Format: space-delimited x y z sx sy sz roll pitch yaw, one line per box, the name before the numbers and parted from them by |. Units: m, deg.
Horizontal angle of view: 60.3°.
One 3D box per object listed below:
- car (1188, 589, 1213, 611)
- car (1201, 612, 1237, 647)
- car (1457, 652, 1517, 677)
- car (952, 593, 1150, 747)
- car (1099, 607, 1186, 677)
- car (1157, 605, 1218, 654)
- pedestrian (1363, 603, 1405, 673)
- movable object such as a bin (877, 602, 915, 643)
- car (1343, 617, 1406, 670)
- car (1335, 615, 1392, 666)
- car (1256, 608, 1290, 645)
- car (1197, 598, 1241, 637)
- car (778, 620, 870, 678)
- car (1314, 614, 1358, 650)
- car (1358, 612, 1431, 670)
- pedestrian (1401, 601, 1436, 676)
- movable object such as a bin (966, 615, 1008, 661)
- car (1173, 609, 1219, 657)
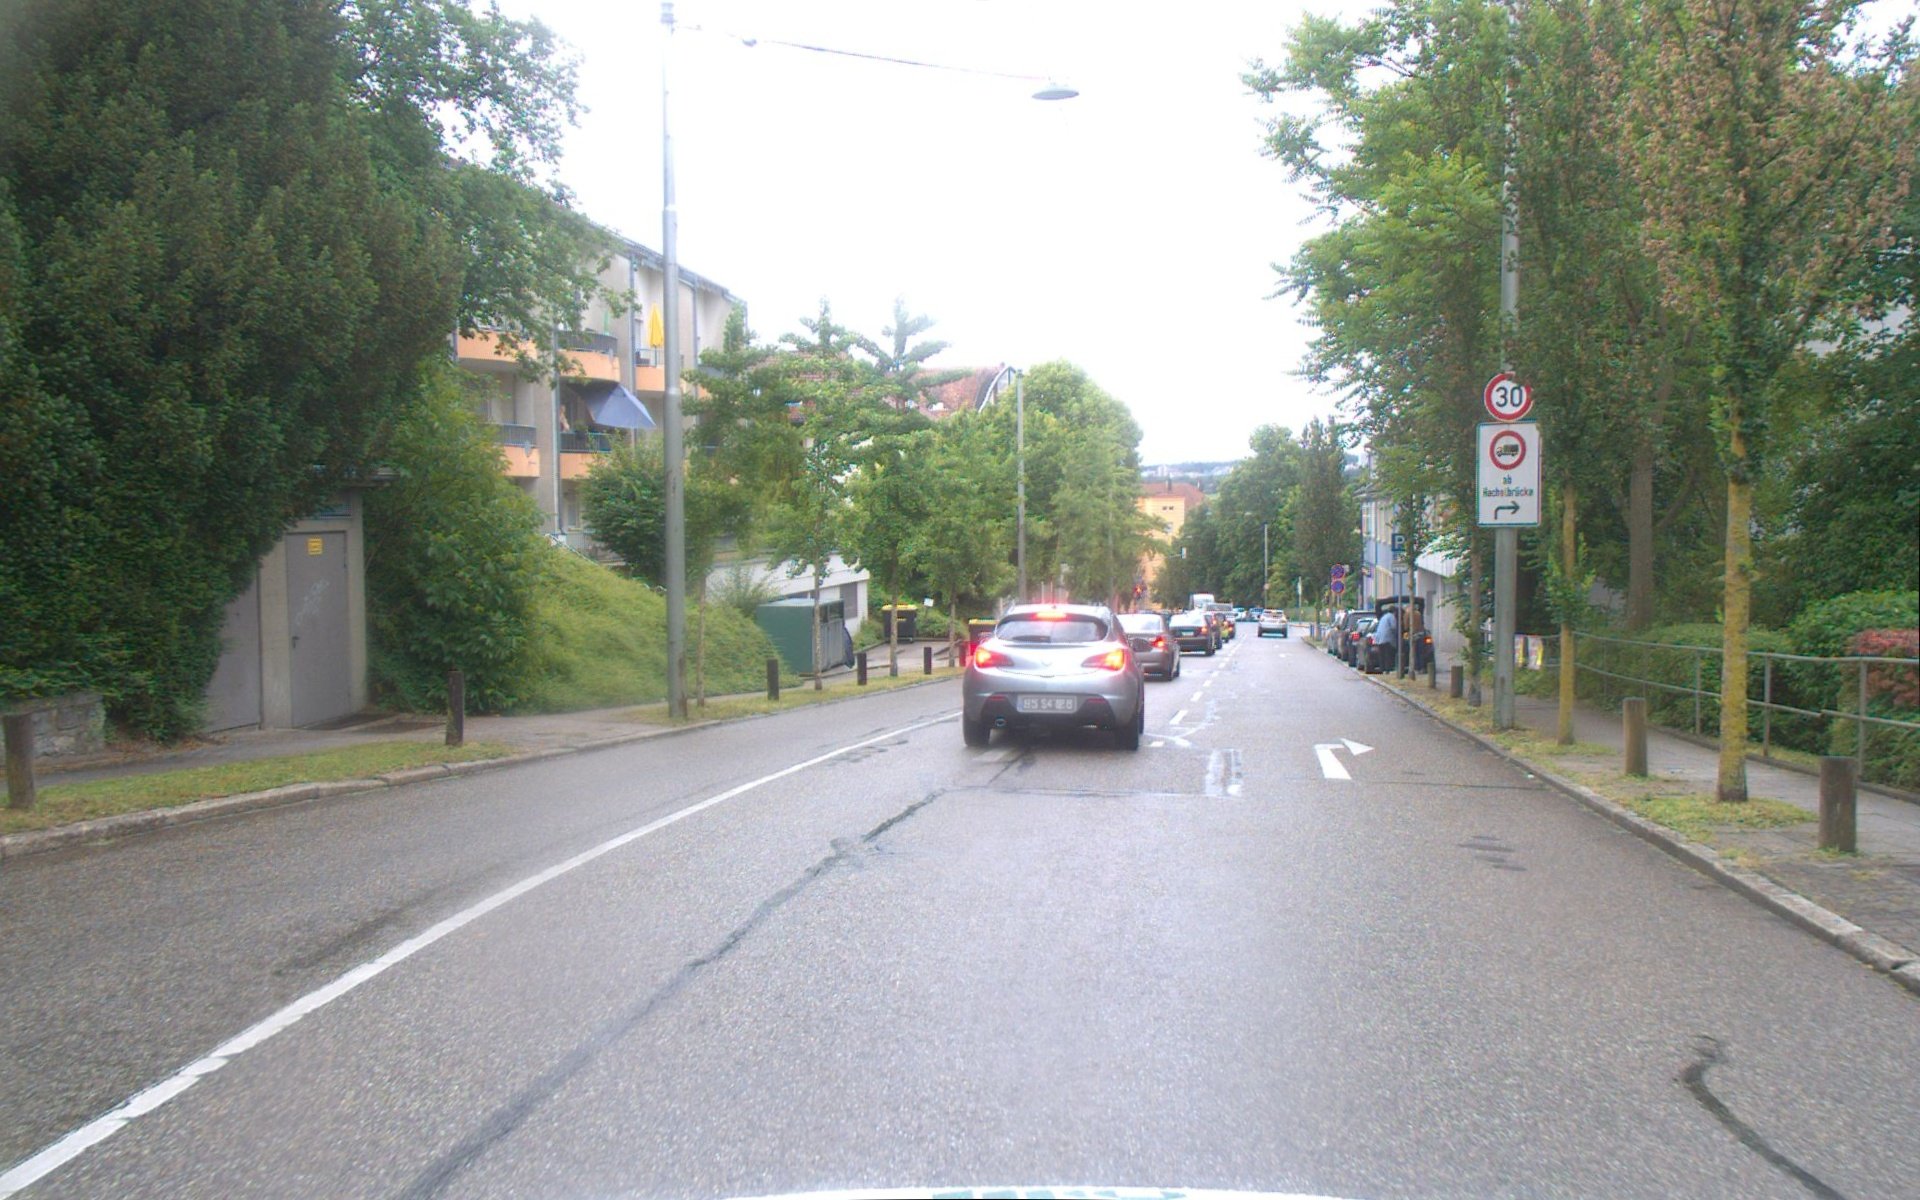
car | 21.732 0.039 149.315 1.951 1.815 4.003 4 0 11
car | 13.513 1.521 86.235 1.717 1.679 4.003 4 -1 9
car | 36.704 4.472 115.252 3.772 1.505 1.828 -3 -1 23
car | 1.092 0.711 18.087 1.904 1.457 3.886 1 -1 6
car | 3.958 0.882 36.230 1.760 1.346 4.003 2 0 5
car | 7.901 0.994 57.263 1.919 1.497 3.954 4 1 9
pedestrian | 10.782 0.965 42.063 0.722 1.754 0.762 -1 -1 -15
movable object such as a bin | -2.296 0.808 59.332 1.245 1.411 0.489 2 0 8
car | 12.452 1.283 49.877 1.645 1.490 4.003 0 0 11
car | 13.278 1.317 54.521 1.649 1.598 4.003 0 0 11
car | 19.607 1.631 103.763 1.951 2.071 4.739 4 0 11
car | 15.024 1.006 95.787 2.285 2.071 4.739 4 1 11
car | -3.788 1.348 46.585 1.704 1.482 3.887 -3 -1 8
car | 17.389 1.443 76.573 1.866 1.598 4.003 0 0 11
car | 11.567 1.097 44.217 1.471 1.460 4.003 0 -1 9
pedestrian | 11.594 0.977 41.829 0.673 1.868 0.665 -2 -1 27
movable object such as a bin | 0.867 1.214 53.075 1.245 1.411 0.489 2 0 8
car | 9.836 1.338 68.881 1.731 1.812 3.980 4 0 9
